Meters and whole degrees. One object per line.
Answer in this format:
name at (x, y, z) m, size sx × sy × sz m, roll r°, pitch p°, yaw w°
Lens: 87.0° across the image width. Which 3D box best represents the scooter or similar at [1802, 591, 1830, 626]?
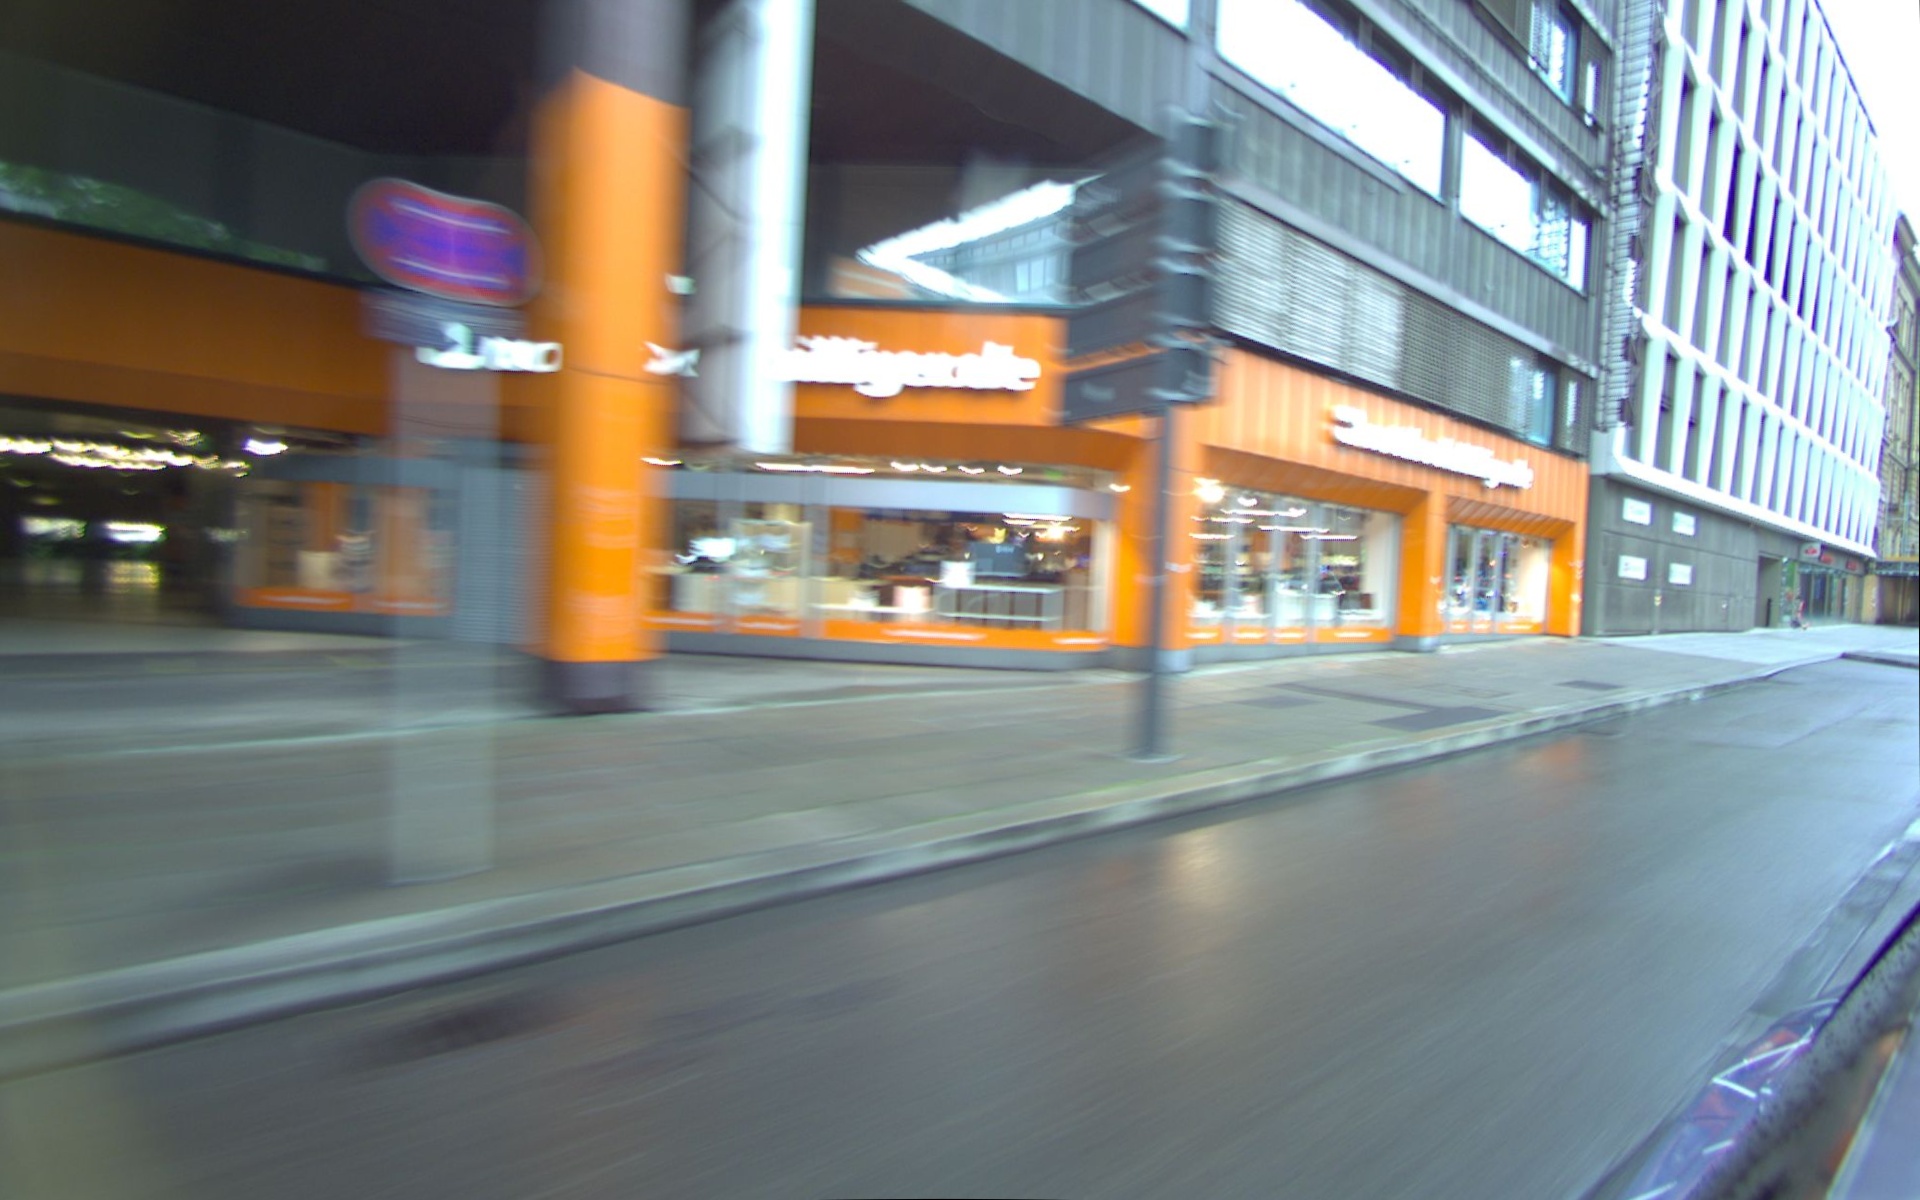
scooter or similar at (31.795, 0.313, 37.584) m, size 1.166 × 1.251 × 0.413 m, roll 1°, pitch 1°, yaw -32°
